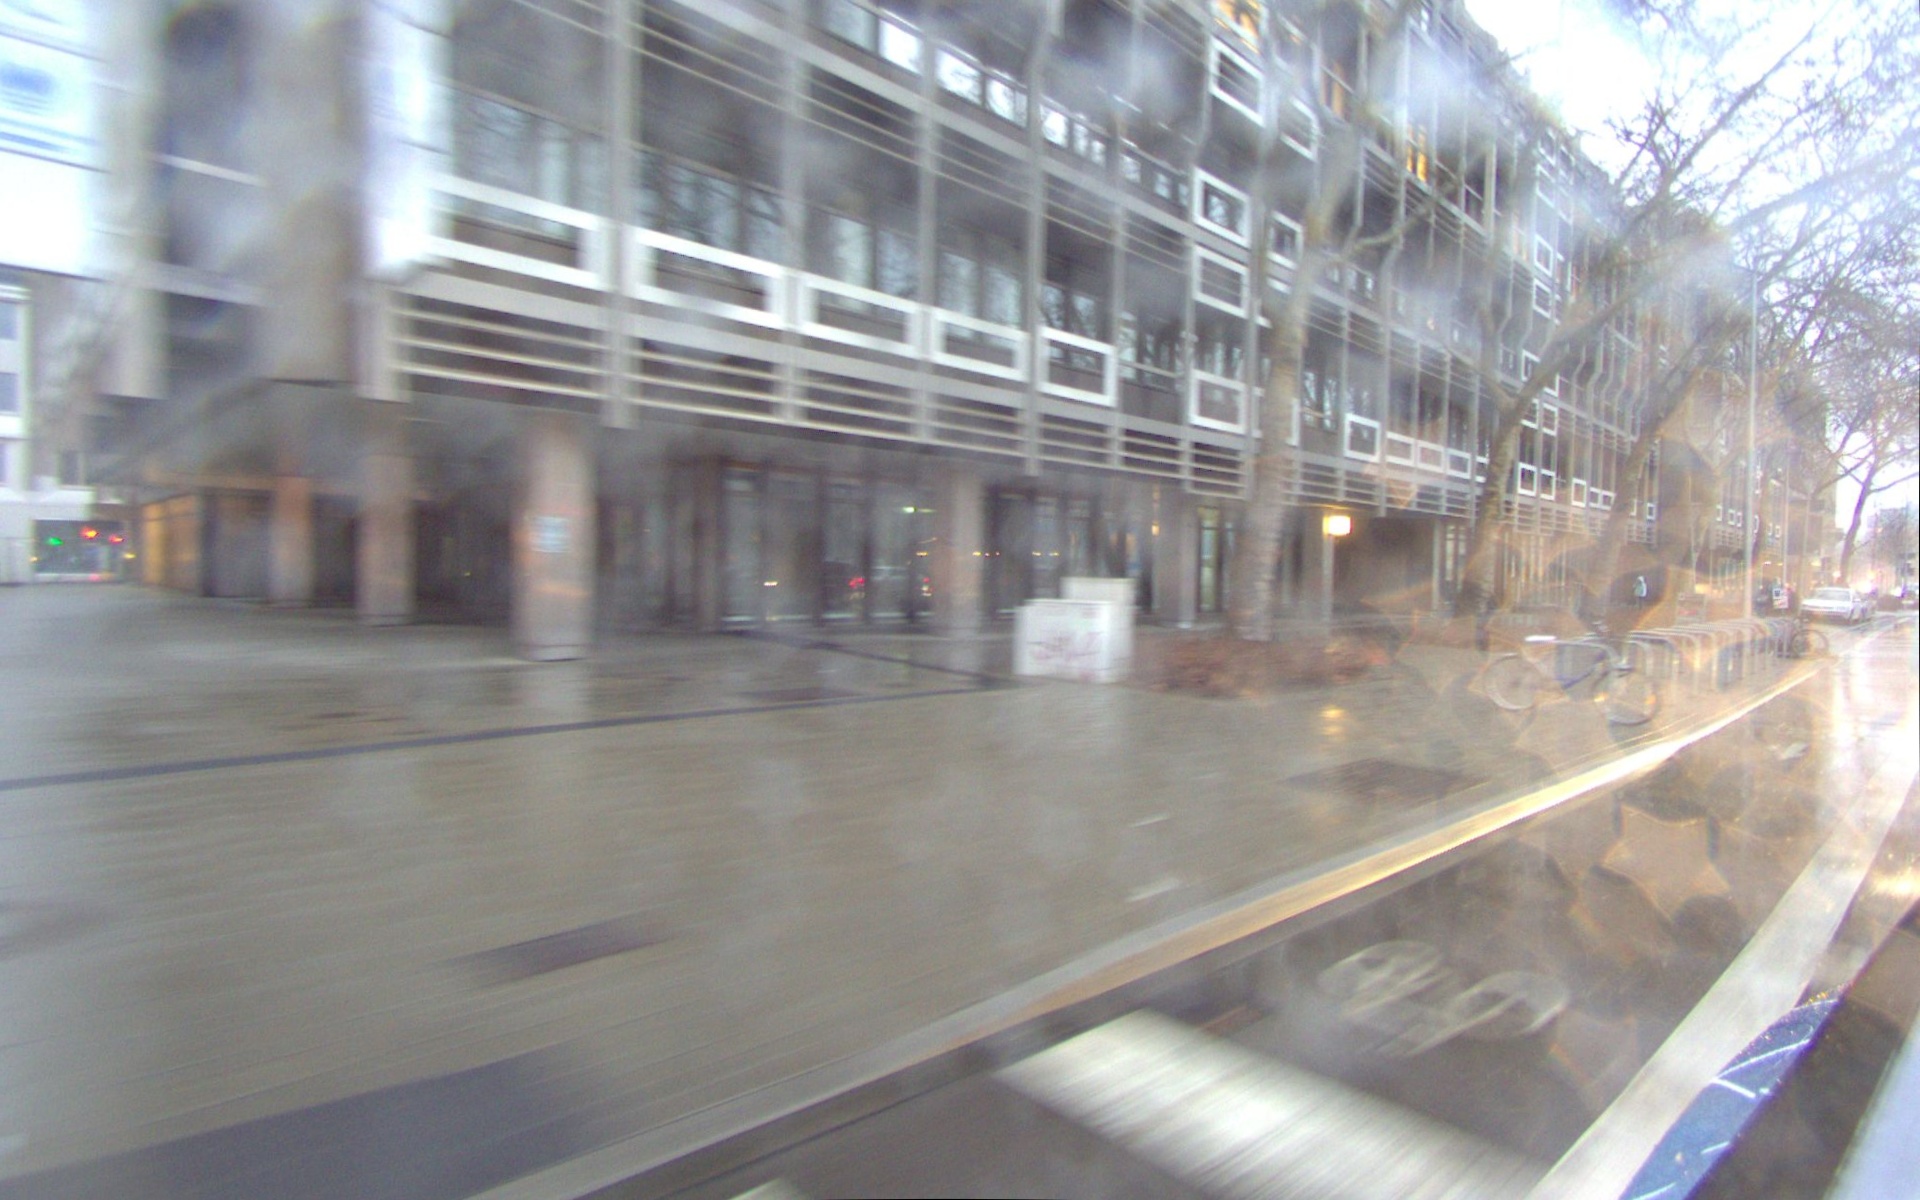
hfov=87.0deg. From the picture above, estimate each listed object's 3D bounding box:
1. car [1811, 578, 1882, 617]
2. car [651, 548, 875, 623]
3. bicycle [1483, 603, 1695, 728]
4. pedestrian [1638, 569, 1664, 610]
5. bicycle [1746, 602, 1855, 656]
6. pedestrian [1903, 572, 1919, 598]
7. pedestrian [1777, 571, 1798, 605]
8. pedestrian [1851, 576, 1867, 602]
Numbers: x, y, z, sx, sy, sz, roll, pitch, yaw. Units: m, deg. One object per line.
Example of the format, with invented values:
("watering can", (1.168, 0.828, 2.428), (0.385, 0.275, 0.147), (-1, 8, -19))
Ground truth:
("car", (35.644, -0.130, 40.661), (3.932, 1.482, 1.711), (-1, 2, -42))
("car", (-3.882, -0.320, 20.237), (3.931, 1.326, 1.998), (-1, 4, -41))
("bicycle", (6.840, 0.666, 11.086), (0.629, 1.145, 1.810), (2, 3, -42))
("pedestrian", (30.697, -0.490, 44.969), (0.764, 1.771, 0.914), (2, 2, 43))
("bicycle", (18.364, 0.602, 22.136), (0.864, 1.004, 1.703), (-1, 4, -42))
("pedestrian", (66.262, -1.051, 70.515), (0.764, 1.771, 0.914), (2, 2, 43))
("pedestrian", (43.908, -0.647, 53.673), (0.764, 1.771, 0.914), (2, 2, 43))
("pedestrian", (62.878, -0.762, 70.746), (0.764, 1.771, 0.914), (2, 2, 43))
